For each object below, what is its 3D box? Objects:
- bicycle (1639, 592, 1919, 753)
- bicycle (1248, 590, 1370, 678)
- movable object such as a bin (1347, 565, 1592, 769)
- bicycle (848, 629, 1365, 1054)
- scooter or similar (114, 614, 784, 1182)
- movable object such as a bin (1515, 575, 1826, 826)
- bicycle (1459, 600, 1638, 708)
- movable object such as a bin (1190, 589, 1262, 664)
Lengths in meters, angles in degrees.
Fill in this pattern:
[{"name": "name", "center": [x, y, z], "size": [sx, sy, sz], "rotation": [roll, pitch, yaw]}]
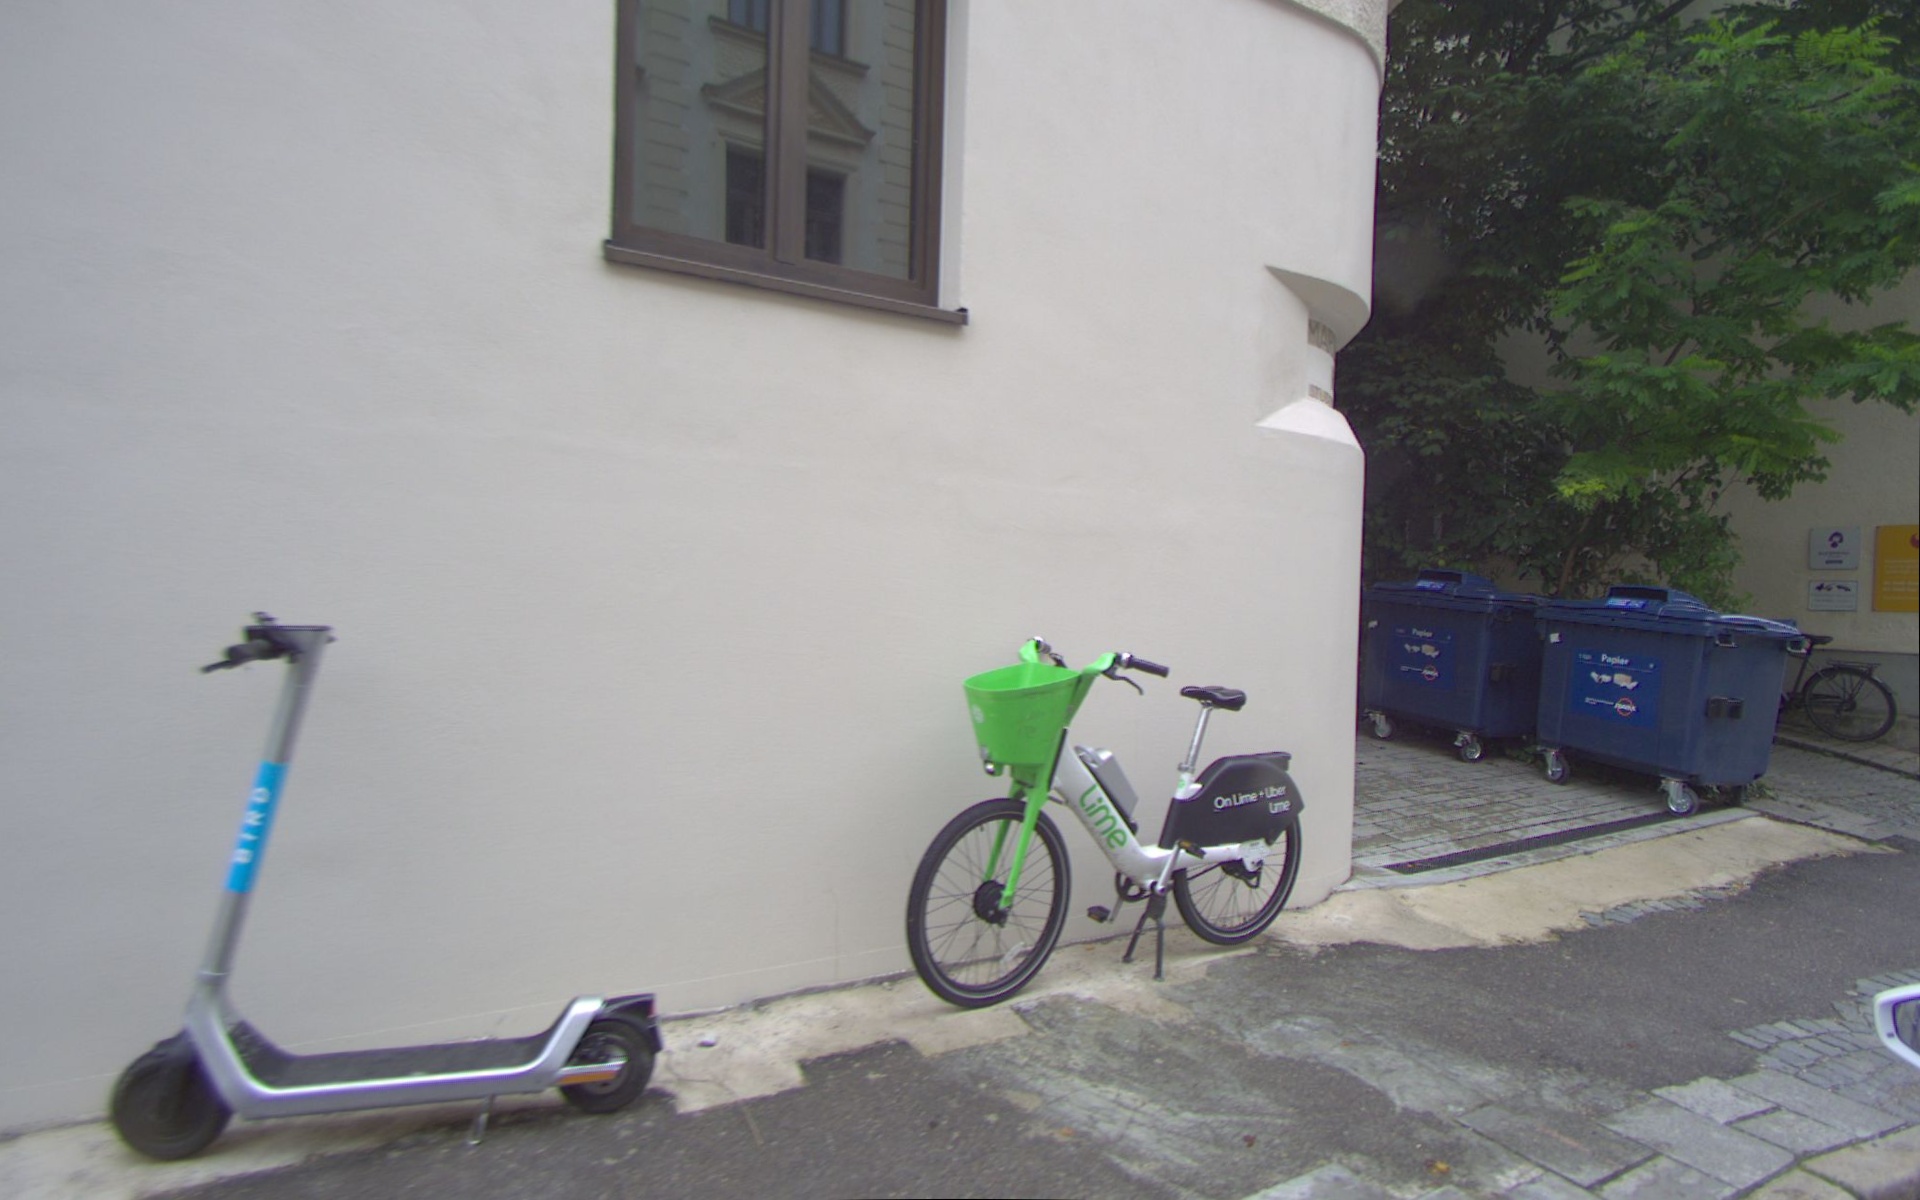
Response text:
[{"name": "bicycle", "center": [8.161, 0.648, 10.050], "size": [0.508, 1.316, 2.189], "rotation": [2, 3, -30]}, {"name": "bicycle", "center": [5.237, 0.483, 15.195], "size": [0.527, 1.211, 1.788], "rotation": [2, 1, -31]}, {"name": "movable object such as a bin", "center": [4.104, 0.482, 8.163], "size": [1.233, 1.424, 1.169], "rotation": [0, 6, -28]}, {"name": "bicycle", "center": [0.582, 0.725, 3.581], "size": [1.861, 1.177, 0.541], "rotation": [2, 2, -32]}, {"name": "scooter or similar", "center": [-1.156, 0.664, 2.509], "size": [1.335, 1.159, 0.552], "rotation": [3, 3, -13]}, {"name": "movable object such as a bin", "center": [4.870, 0.621, 6.959], "size": [1.231, 1.462, 1.171], "rotation": [1, 6, -24]}, {"name": "bicycle", "center": [7.026, 0.605, 12.092], "size": [0.527, 1.149, 1.788], "rotation": [2, 1, -31]}, {"name": "movable object such as a bin", "center": [4.347, 0.437, 16.447], "size": [0.815, 1.175, 0.746], "rotation": [2, 1, -28]}]
